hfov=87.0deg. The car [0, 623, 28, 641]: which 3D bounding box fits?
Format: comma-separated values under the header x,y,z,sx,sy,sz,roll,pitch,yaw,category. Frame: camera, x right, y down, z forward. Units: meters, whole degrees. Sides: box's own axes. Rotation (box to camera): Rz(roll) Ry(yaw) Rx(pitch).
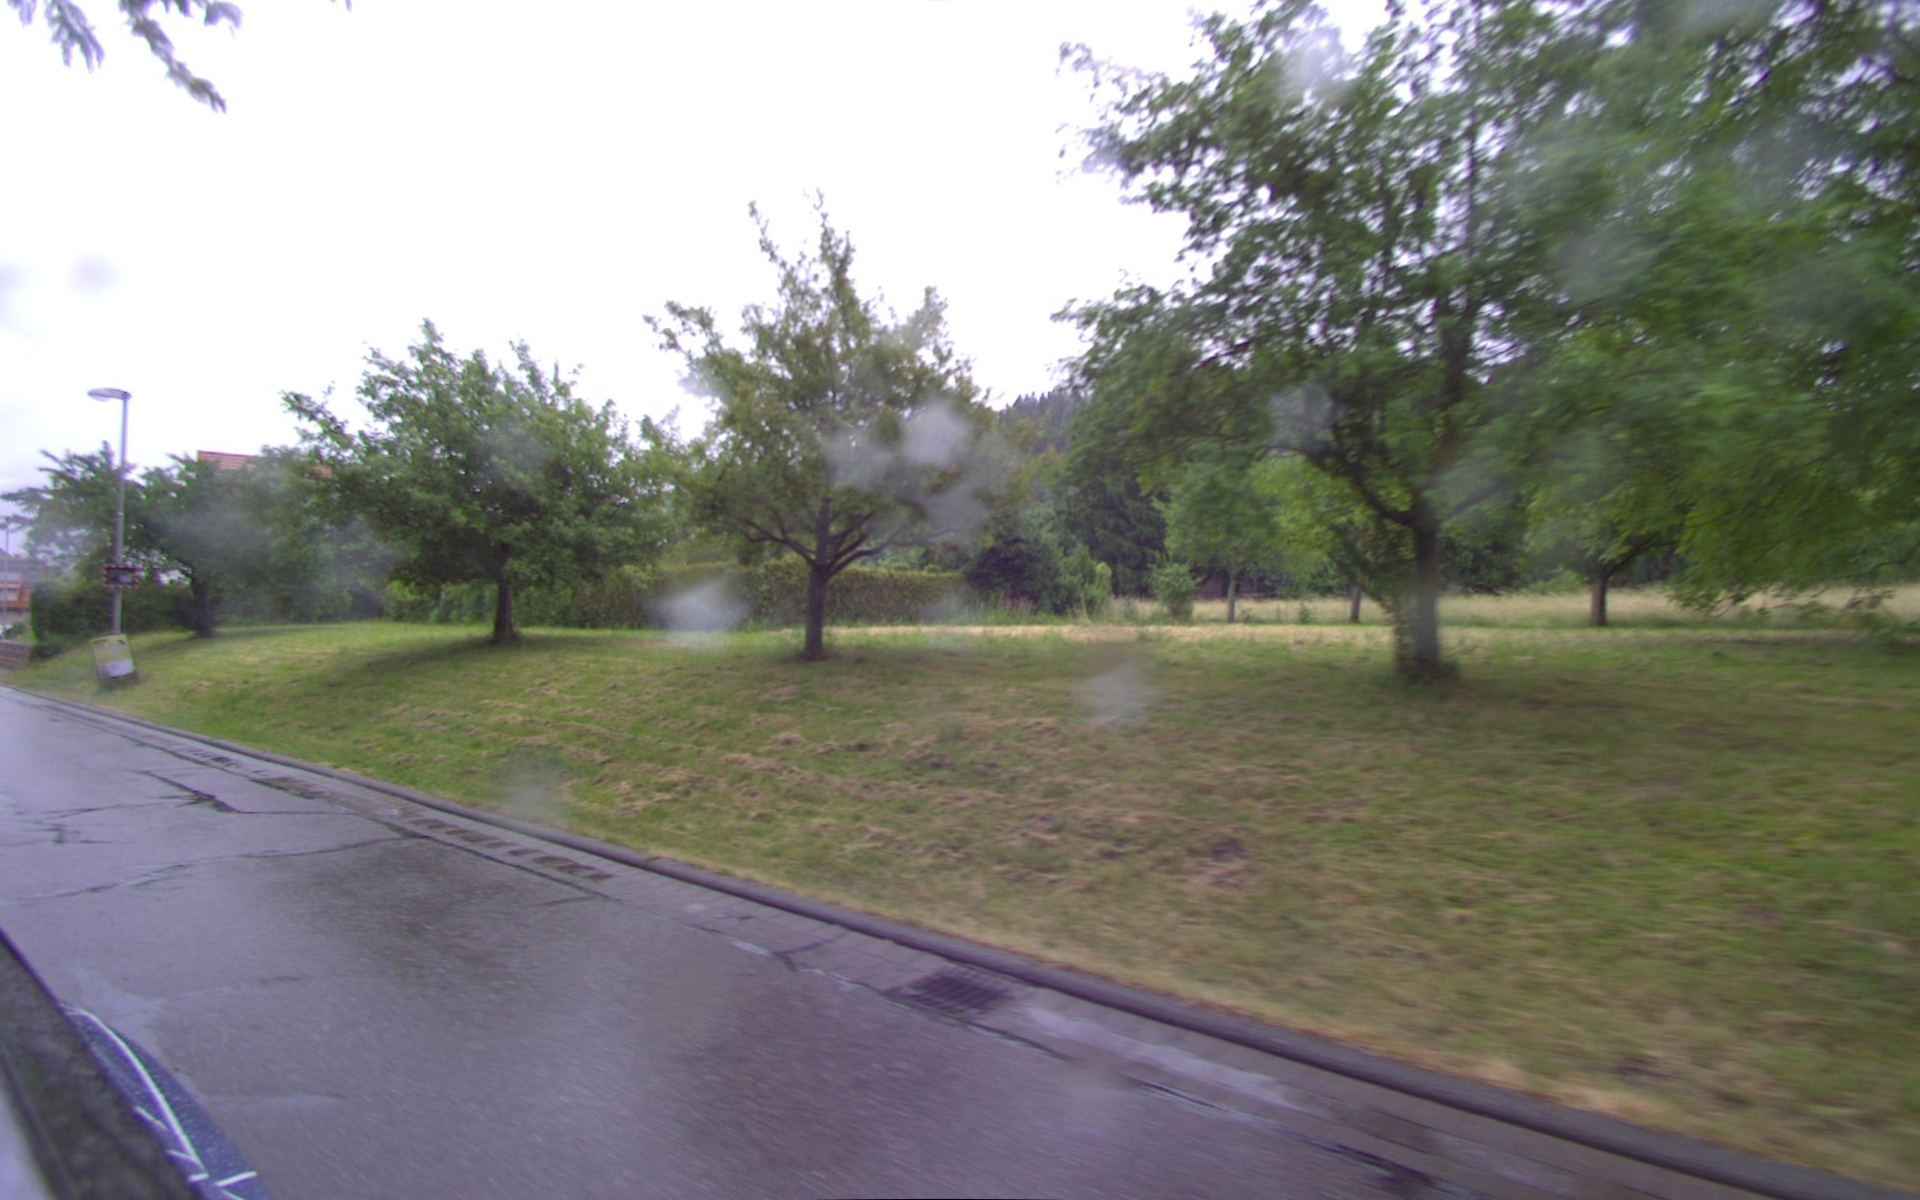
x,y,z,sx,sy,sz,roll,pitch,yaw,category
-89.226,2.966,94.580,3.872,1.587,1.874,-1,0,28,car
